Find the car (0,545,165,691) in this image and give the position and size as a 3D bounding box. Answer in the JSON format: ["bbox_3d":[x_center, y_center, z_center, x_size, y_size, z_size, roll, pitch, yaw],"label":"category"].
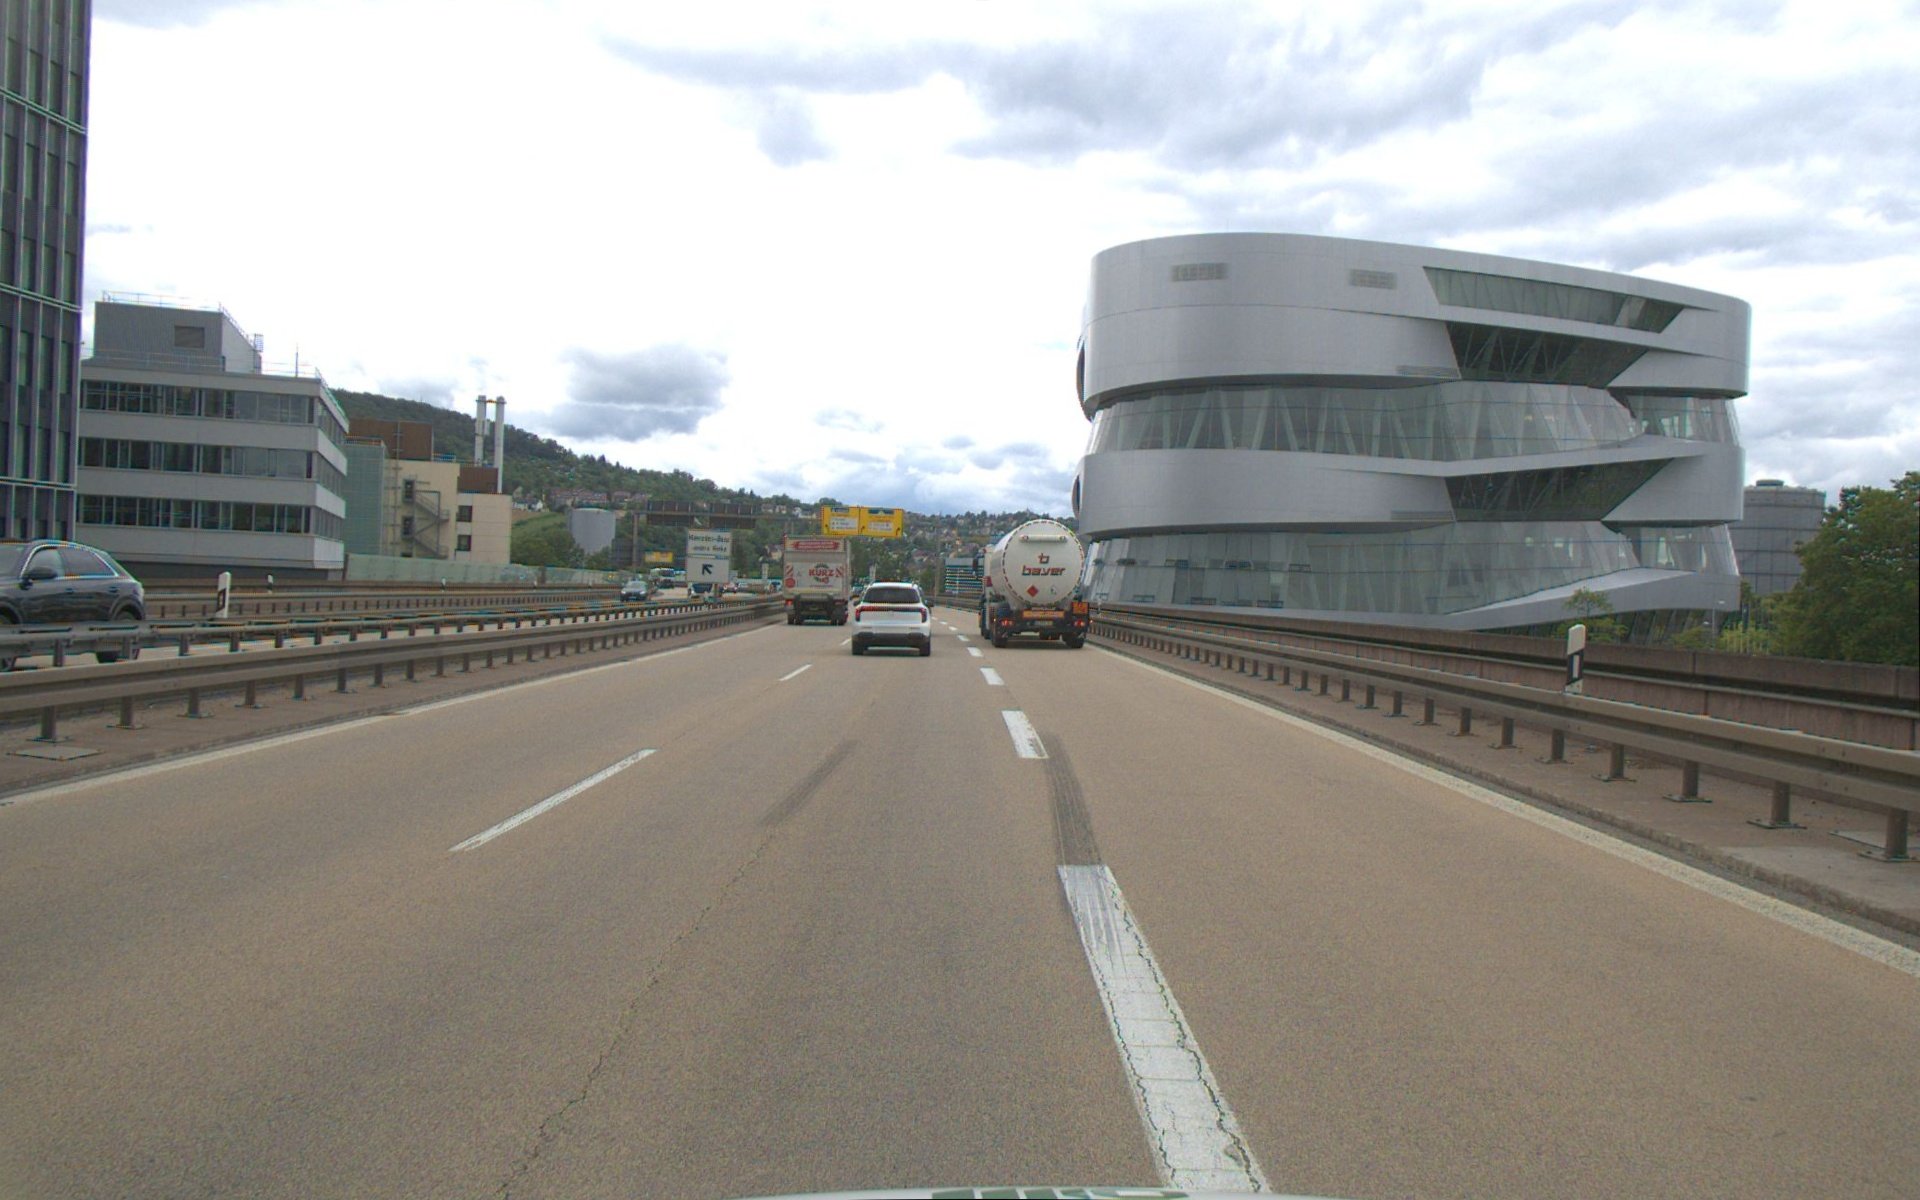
[{"bbox_3d":[-11.897,0.172,20.637,1.726,1.679,4.335,3,0,1],"label":"car"}]

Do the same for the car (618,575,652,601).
[{"bbox_3d":[-22.340,-0.841,113.878,1.649,1.679,4.356,2,0,-3],"label":"car"}]

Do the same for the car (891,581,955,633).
[{"bbox_3d":[-1.241,0.245,56.839,1.952,1.704,4.409,1,0,2],"label":"car"}]

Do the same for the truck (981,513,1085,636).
[{"bbox_3d":[2.265,-0.749,53.506,2.953,3.721,6.272,1,0,-1],"label":"truck"}]

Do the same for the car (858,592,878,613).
[{"bbox_3d":[-7.707,0.183,138.354,1.649,1.679,4.356,2,0,-3],"label":"car"}]

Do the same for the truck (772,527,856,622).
[{"bbox_3d":[-6.081,-0.987,70.050,2.995,3.755,8.300,1,0,-2],"label":"truck"}]

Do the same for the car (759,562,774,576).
[{"bbox_3d":[-25.230,-4.006,216.002,1.955,1.634,4.800,1,0,-6],"label":"car"}]

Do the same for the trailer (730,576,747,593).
[{"bbox_3d":[-28.989,-2.006,216.712,1.954,2.049,3.997,1,0,-4],"label":"trailer"}]

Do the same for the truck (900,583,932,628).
[{"bbox_3d":[-4.739,0.552,176.098,2.996,4.642,8.297,1,0,-4],"label":"truck"}]

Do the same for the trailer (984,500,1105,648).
[{"bbox_3d":[2.289,-0.676,47.725,2.994,3.856,8.303,1,0,0],"label":"trailer"}]

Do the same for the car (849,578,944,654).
[{"bbox_3d":[-1.459,0.375,39.679,1.952,1.704,4.409,1,0,2],"label":"car"}]

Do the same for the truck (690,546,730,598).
[{"bbox_3d":[-20.727,-2.294,137.434,2.717,4.151,5.642,1,-1,-4],"label":"truck"}]
